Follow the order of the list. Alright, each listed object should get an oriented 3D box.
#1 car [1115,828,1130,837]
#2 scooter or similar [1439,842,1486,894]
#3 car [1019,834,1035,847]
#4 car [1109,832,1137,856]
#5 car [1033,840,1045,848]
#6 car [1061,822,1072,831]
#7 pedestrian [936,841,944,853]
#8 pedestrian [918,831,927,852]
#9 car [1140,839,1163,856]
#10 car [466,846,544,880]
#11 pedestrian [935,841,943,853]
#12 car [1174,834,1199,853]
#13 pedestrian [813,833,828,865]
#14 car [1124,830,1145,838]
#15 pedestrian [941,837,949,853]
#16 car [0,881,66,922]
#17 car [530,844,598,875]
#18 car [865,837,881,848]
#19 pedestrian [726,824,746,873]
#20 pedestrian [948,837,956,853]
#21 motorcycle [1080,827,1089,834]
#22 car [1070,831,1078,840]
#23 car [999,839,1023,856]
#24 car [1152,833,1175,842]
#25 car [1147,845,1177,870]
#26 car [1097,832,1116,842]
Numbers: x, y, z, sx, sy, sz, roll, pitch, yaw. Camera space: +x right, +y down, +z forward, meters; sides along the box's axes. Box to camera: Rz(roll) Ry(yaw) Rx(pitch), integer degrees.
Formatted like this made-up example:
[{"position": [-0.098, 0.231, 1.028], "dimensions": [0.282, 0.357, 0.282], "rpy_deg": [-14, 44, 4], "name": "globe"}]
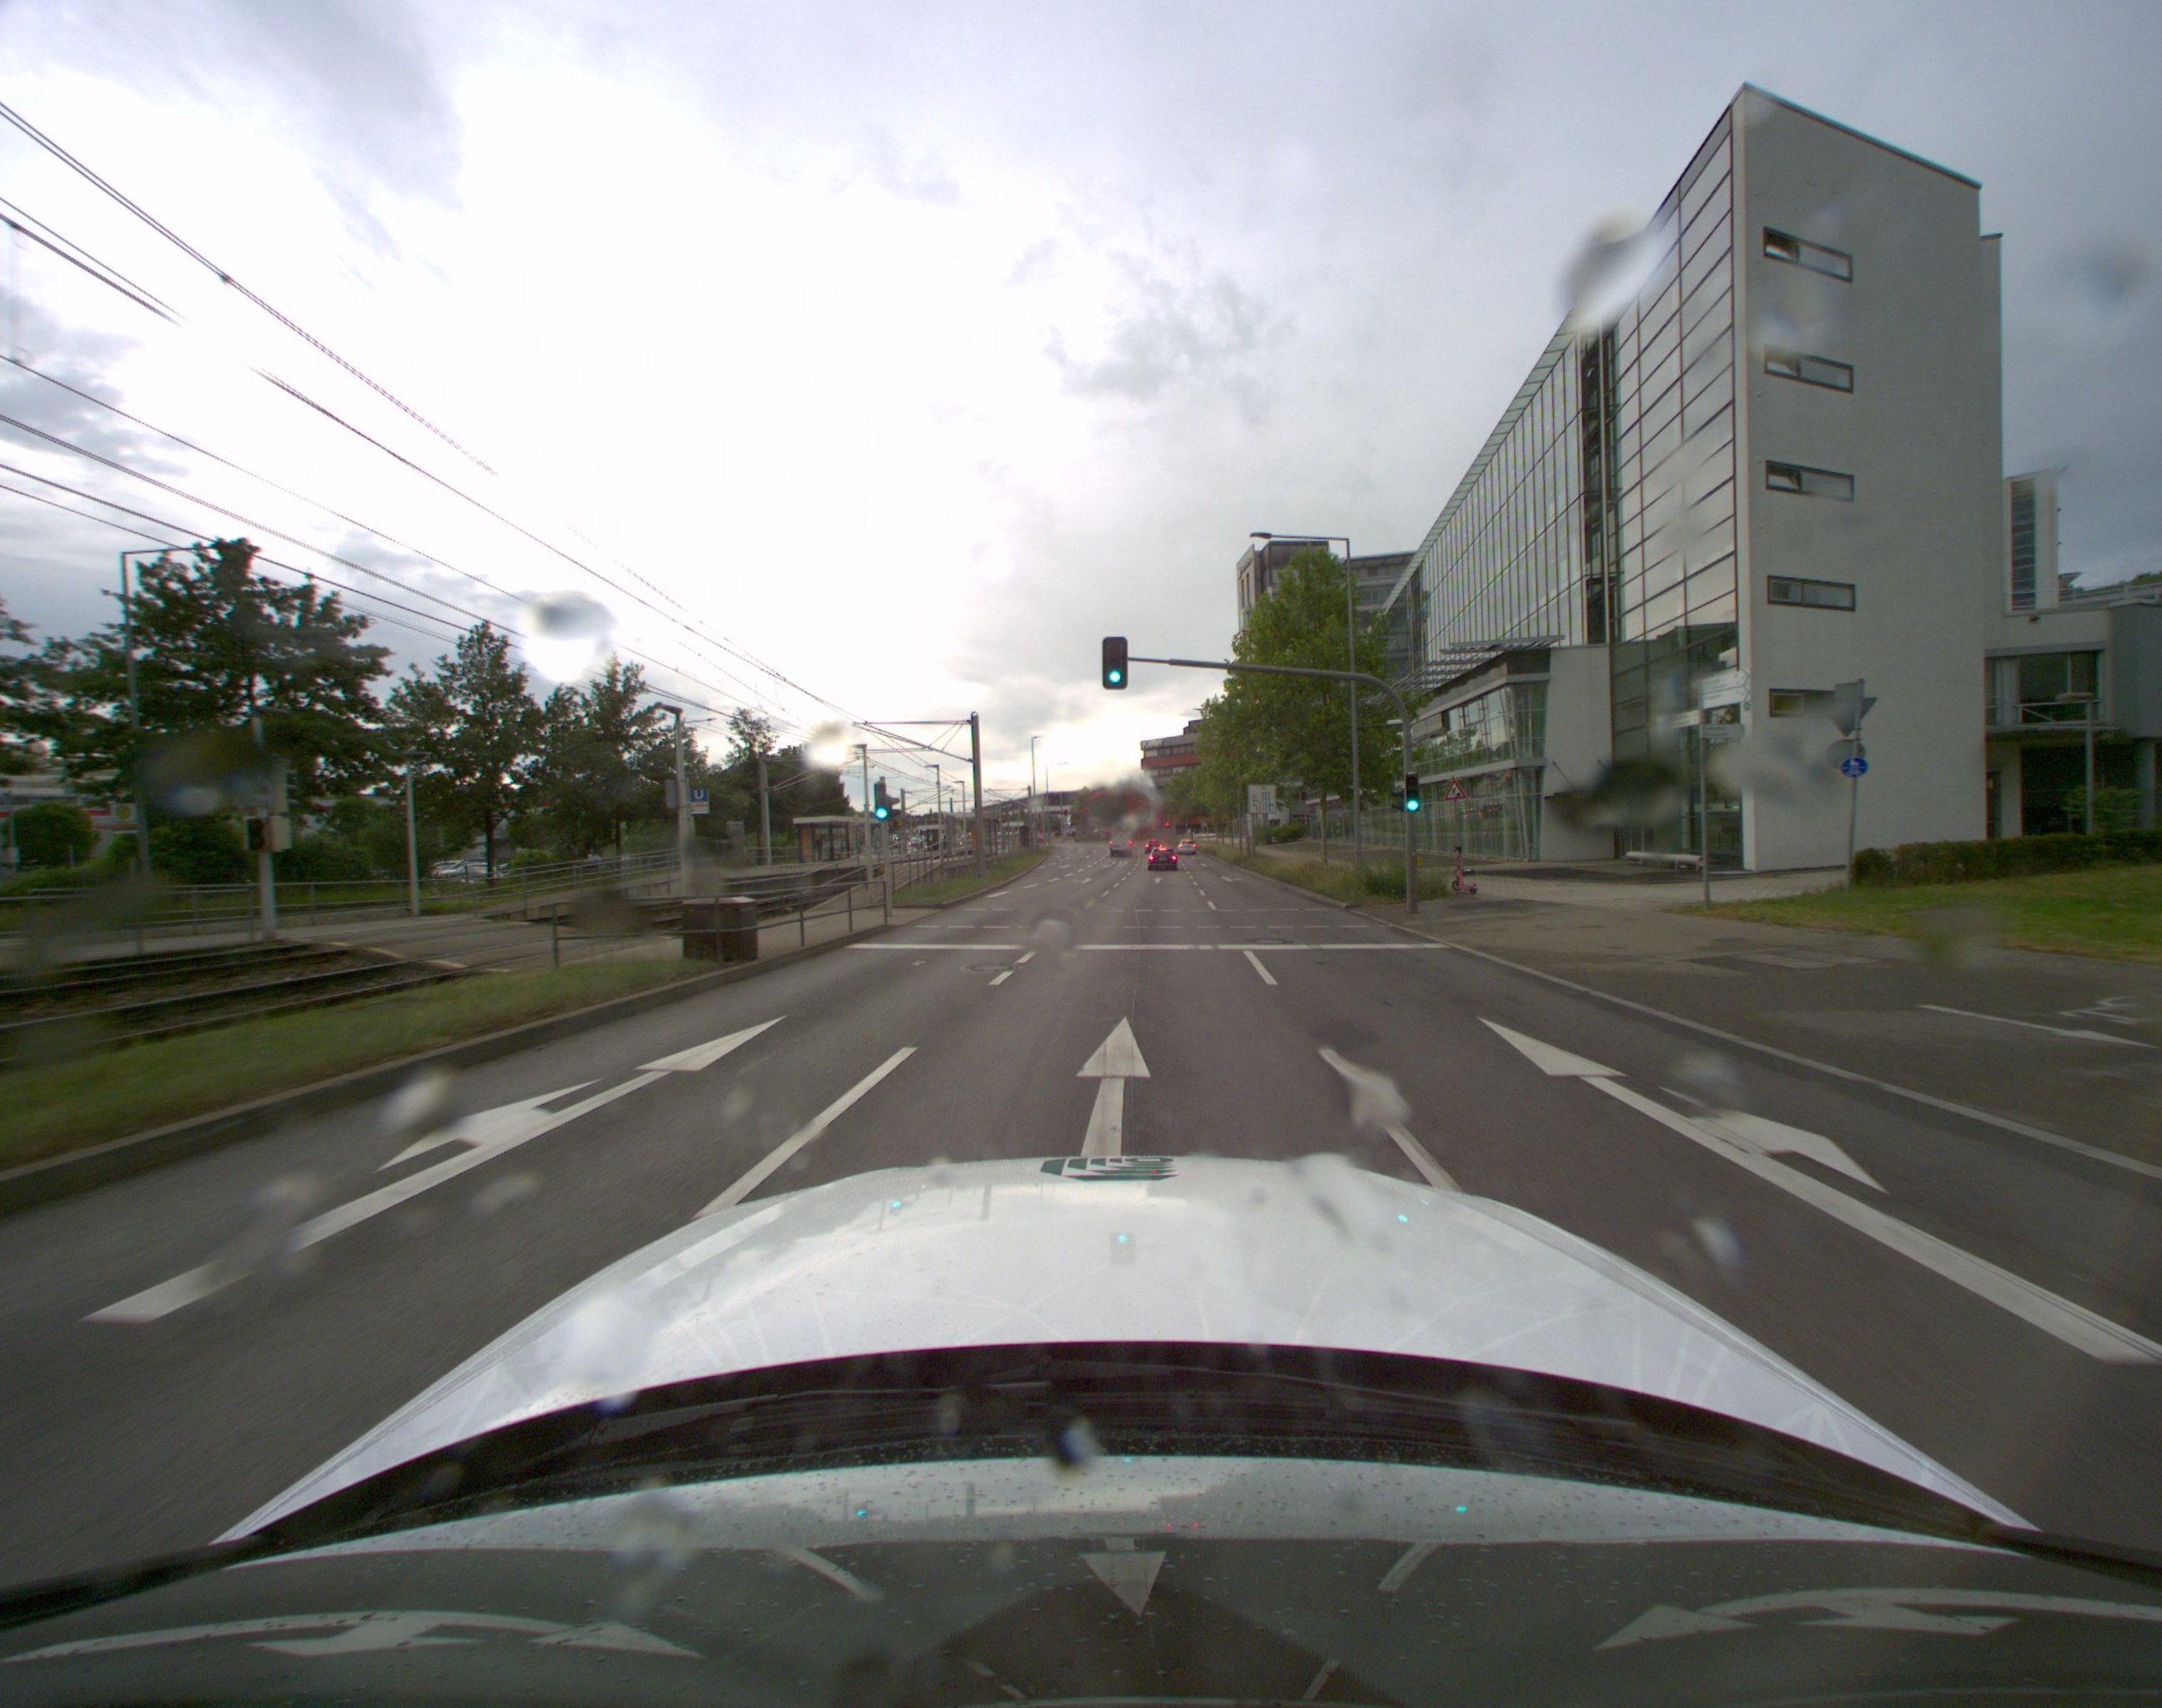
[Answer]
[{"position": [9.834, -5.135, 193.990], "dimensions": [2.003, 2.014, 3.968], "rpy_deg": [0, -2, -24], "name": "car"}, {"position": [9.862, 0.354, 21.074], "dimensions": [0.456, 1.263, 1.336], "rpy_deg": [-4, 0, -2], "name": "scooter or similar"}, {"position": [-8.150, -2.064, 122.531], "dimensions": [1.987, 1.808, 3.848], "rpy_deg": [2, 1, 1], "name": "car"}, {"position": [3.991, -1.000, 77.717], "dimensions": [2.501, 2.177, 5.153], "rpy_deg": [-1, 1, 2], "name": "car"}, {"position": [-8.533, -2.007, 165.199], "dimensions": [2.020, 1.623, 3.989], "rpy_deg": [-1, 1, -8], "name": "car"}, {"position": [-3.483, -6.656, 199.413], "dimensions": [1.994, 2.014, 3.985], "rpy_deg": [-1, -2, -10], "name": "car"}, {"position": [-15.485, -0.750, 89.561], "dimensions": [0.724, 1.253, 0.731], "rpy_deg": [-1, -1, -1], "name": "pedestrian"}, {"position": [-16.020, -1.290, 82.432], "dimensions": [0.685, 2.080, 0.715], "rpy_deg": [-1, 1, 5], "name": "pedestrian"}, {"position": [7.279, -0.679, 84.189], "dimensions": [2.015, 1.623, 3.999], "rpy_deg": [-1, 1, -1], "name": "car"}, {"position": [-37.161, 0.539, 52.699], "dimensions": [1.985, 2.013, 4.004], "rpy_deg": [-1, 1, 3], "name": "car"}, {"position": [-15.459, -0.780, 88.798], "dimensions": [0.724, 1.253, 0.731], "rpy_deg": [-1, -1, -1], "name": "pedestrian"}, {"position": [10.458, -1.055, 81.258], "dimensions": [2.014, 1.769, 4.001], "rpy_deg": [-1, 2, 1], "name": "car"}, {"position": [-15.435, -0.313, 48.173], "dimensions": [0.635, 1.854, 0.750], "rpy_deg": [-1, -2, 0], "name": "pedestrian"}, {"position": [10.633, -3.945, 161.917], "dimensions": [2.038, 1.623, 3.953], "rpy_deg": [-1, 1, -40], "name": "car"}, {"position": [-14.703, -0.995, 87.942], "dimensions": [0.726, 1.715, 0.832], "rpy_deg": [-1, -1, 2], "name": "pedestrian"}, {"position": [-39.636, 1.750, 30.036], "dimensions": [2.010, 1.415, 3.952], "rpy_deg": [1, -2, -40], "name": "car"}, {"position": [-36.757, 0.349, 58.018], "dimensions": [1.985, 2.013, 4.005], "rpy_deg": [-1, 2, 3], "name": "car"}, {"position": [-40.790, -2.299, 159.854], "dimensions": [2.006, 2.014, 3.960], "rpy_deg": [0, -2, -31], "name": "car"}, {"position": [-13.979, -0.225, 33.034], "dimensions": [0.547, 1.953, 0.663], "rpy_deg": [-1, -2, -3], "name": "pedestrian"}, {"position": [-14.900, -1.007, 93.958], "dimensions": [0.749, 1.751, 0.764], "rpy_deg": [-1, -2, 1], "name": "pedestrian"}, {"position": [0.954, -6.897, 238.911], "dimensions": [1.993, 2.014, 3.986], "rpy_deg": [-1, -2, -10], "name": "motorcycle"}, {"position": [-1.943, -4.870, 215.187], "dimensions": [1.814, 2.014, 3.465], "rpy_deg": [-1, -2, -4], "name": "car"}, {"position": [-6.984, -0.708, 81.700], "dimensions": [1.987, 1.452, 3.849], "rpy_deg": [-1, 4, 1], "name": "car"}, {"position": [15.851, -3.107, 156.951], "dimensions": [2.038, 1.623, 4.275], "rpy_deg": [-1, 1, -40], "name": "car"}, {"position": [5.075, 0.183, 50.598], "dimensions": [1.755, 1.463, 4.636], "rpy_deg": [0, 1, 7], "name": "car"}, {"position": [5.356, -3.475, 171.048], "dimensions": [2.010, 2.013, 3.953], "rpy_deg": [0, 0, -40], "name": "car"}]
